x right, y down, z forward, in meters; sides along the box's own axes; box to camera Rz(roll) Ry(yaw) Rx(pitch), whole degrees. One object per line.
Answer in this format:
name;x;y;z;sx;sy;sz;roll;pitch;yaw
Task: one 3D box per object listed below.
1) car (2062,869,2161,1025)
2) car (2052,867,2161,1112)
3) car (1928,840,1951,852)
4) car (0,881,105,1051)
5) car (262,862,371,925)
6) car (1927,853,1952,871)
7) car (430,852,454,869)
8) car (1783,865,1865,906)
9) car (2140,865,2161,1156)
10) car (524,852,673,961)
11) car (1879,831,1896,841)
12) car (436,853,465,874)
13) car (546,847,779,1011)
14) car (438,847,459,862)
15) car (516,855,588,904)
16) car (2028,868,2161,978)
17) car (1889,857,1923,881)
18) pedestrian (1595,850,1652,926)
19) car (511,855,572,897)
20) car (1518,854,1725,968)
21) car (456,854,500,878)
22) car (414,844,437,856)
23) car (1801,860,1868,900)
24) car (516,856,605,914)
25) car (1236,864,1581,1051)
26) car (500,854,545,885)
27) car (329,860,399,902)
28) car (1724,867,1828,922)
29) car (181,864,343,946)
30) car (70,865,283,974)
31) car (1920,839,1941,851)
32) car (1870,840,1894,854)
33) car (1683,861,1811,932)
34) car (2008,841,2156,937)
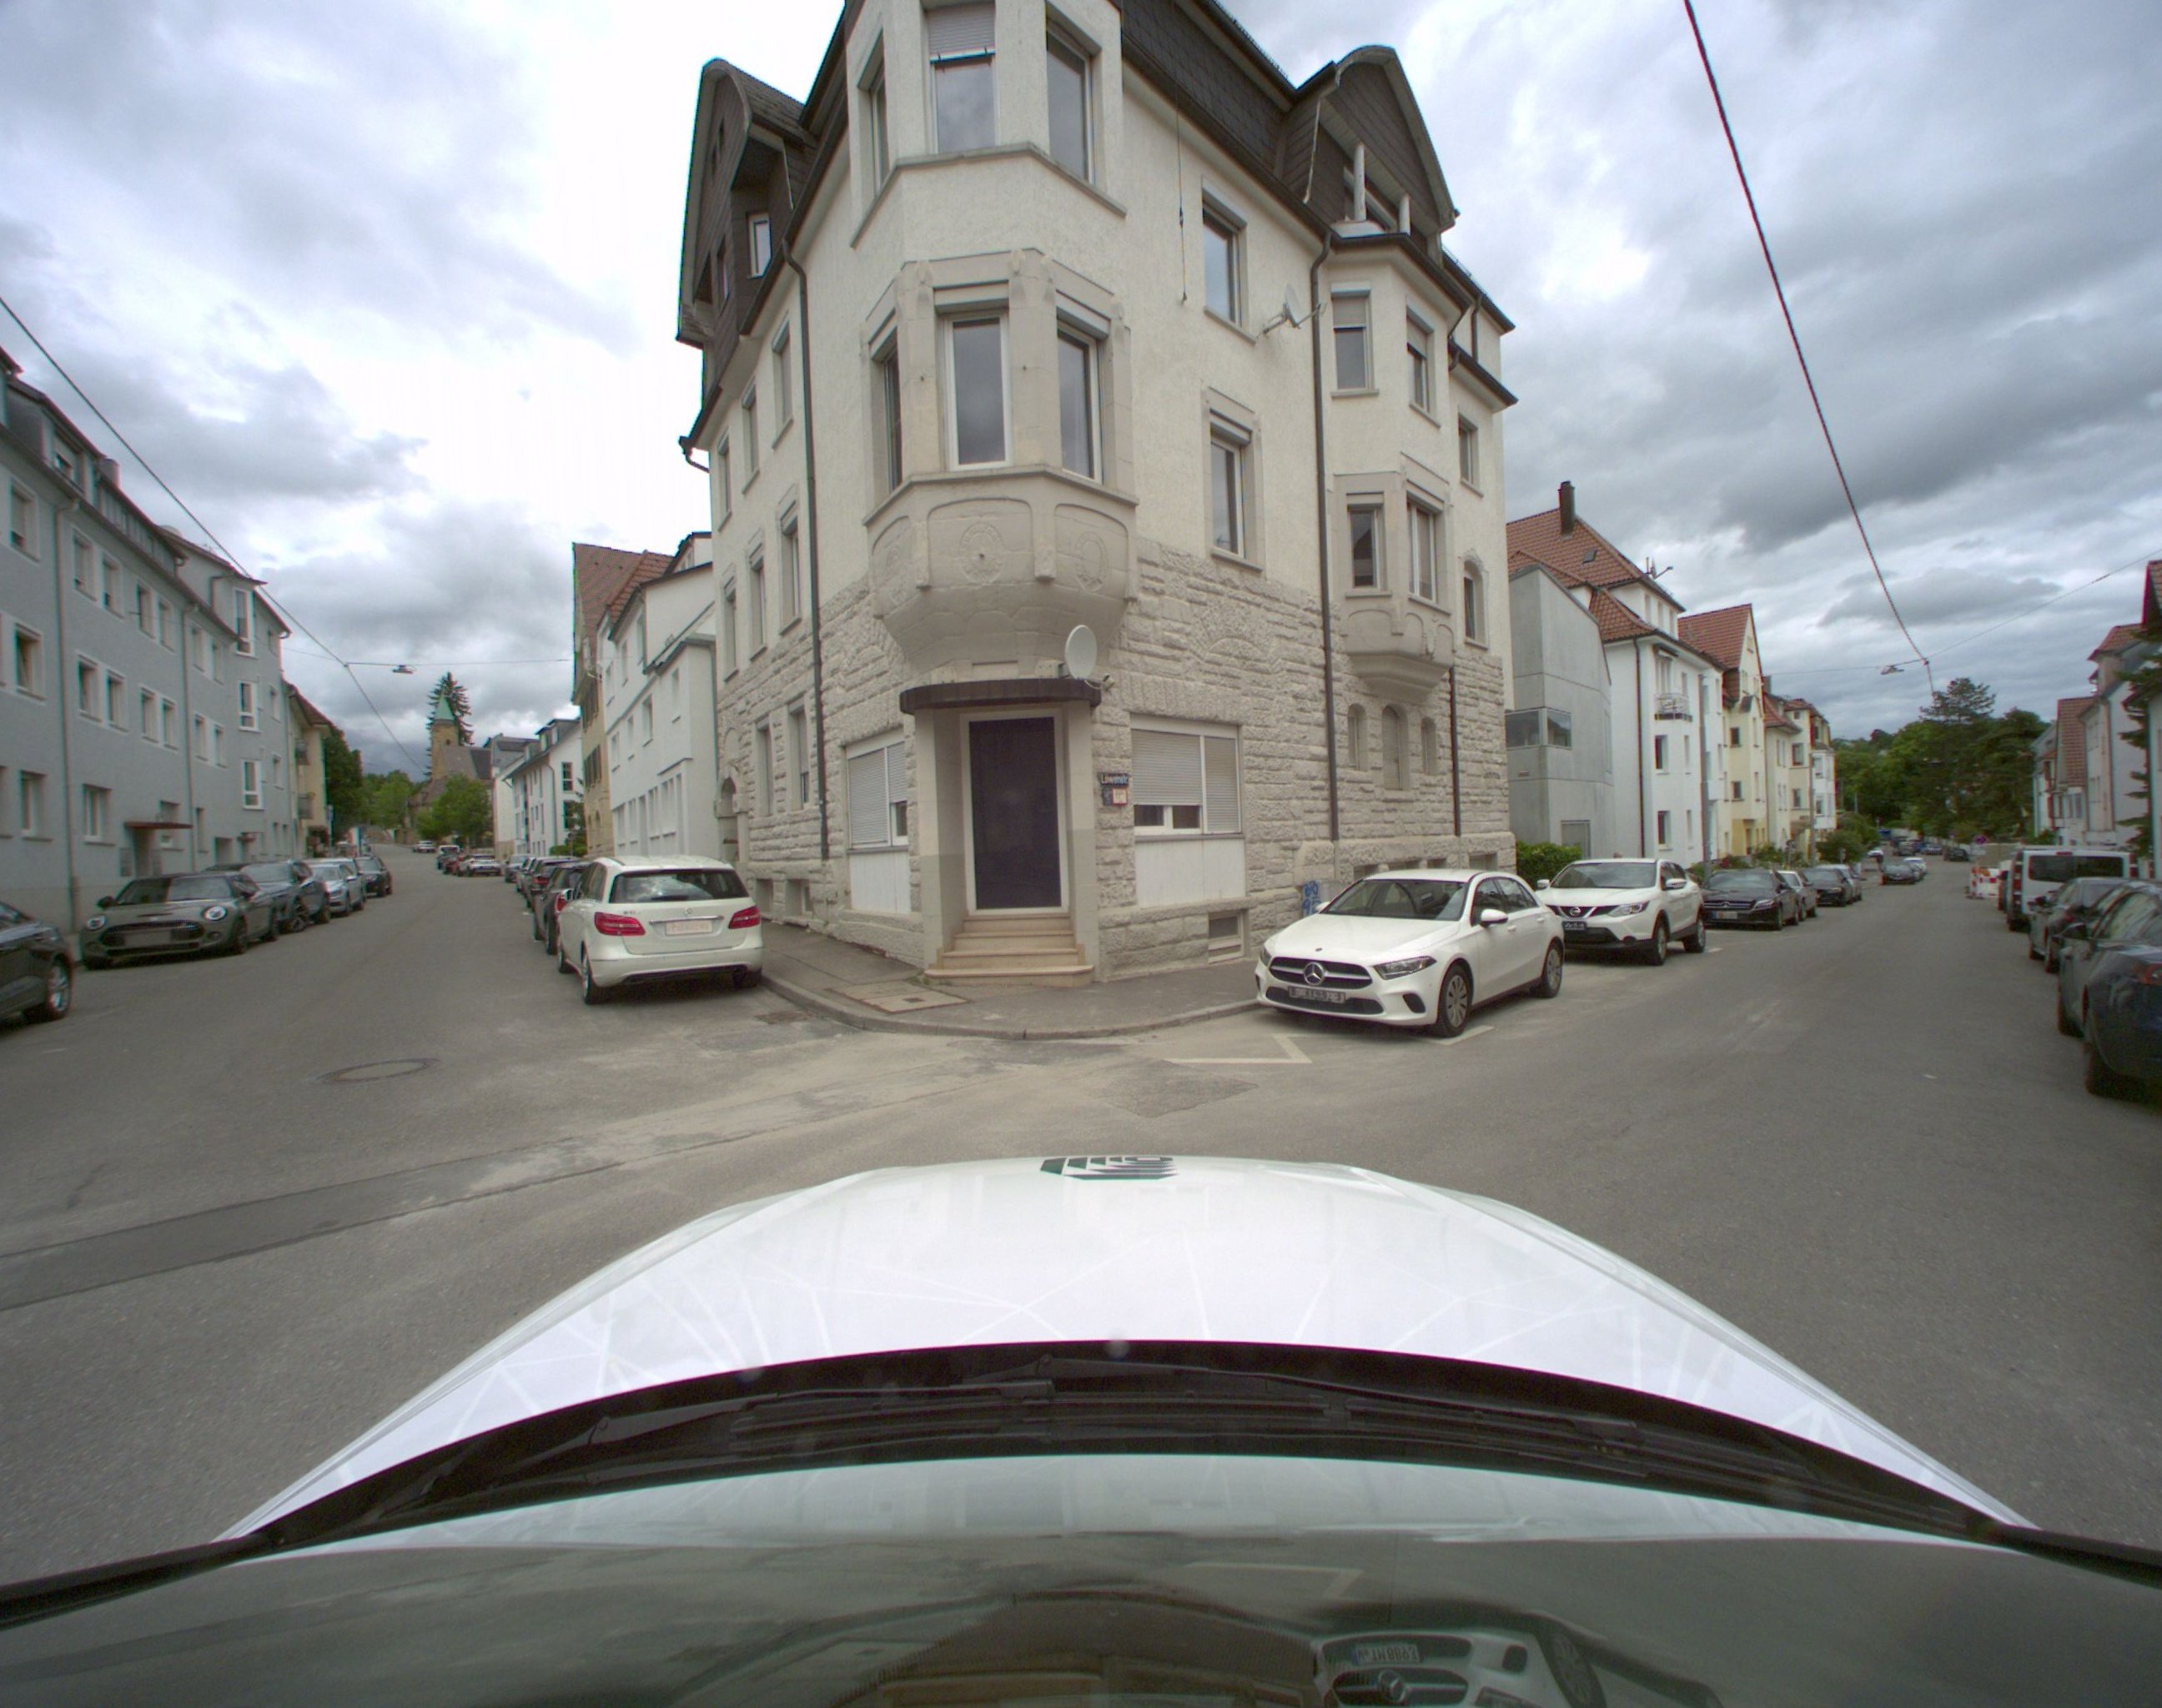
car;12.043;0.907;8.563;3.990;1.403;1.835;0;1;-45
car;8.442;0.836;5.785;4.315;1.403;1.836;0;1;-42
car;115.665;-1.066;109.747;1.618;1.483;3.553;0;4;39
car;-10.313;1.037;6.781;1.835;1.391;4.250;-3;2;-37
car;-20.828;1.005;22.328;1.744;1.448;3.677;-3;2;-37
car;87.563;0.825;83.079;3.885;1.657;1.657;-4;1;-43
car;-59.356;0.611;75.637;1.681;1.479;3.585;-2;2;-38
car;28.424;1.179;31.105;4.528;1.457;1.828;1;-3;-42
car;5.001;0.786;2.516;3.646;1.479;1.652;0;-1;-44
car;-8.345;0.756;13.913;1.681;1.532;3.981;0;1;-38
car;134.137;-2.965;135.463;1.618;1.537;3.553;0;4;39
car;-48.689;0.716;62.889;1.681;1.479;3.585;-2;2;-38
car;-5.324;0.733;10.087;1.835;1.599;3.981;0;0;-38
car;-65.974;0.028;84.900;1.681;1.479;3.585;-2;2;-38
car;-17.744;0.805;27.250;1.681;1.479;3.585;0;1;-38
car;15.668;0.955;12.130;4.600;1.403;1.836;2;-1;-43
car;65.391;1.162;64.565;4.570;1.815;1.828;1;-2;-45
pedestrian;13.794;0.855;20.715;0.847;1.885;0.814;0;-2;-19
car;-20.740;0.794;31.258;1.681;1.479;3.585;0;1;-38
car;8.713;0.777;12.974;4.264;1.516;1.828;0;-1;-44
car;-40.843;0.767;55.146;3.581;1.479;1.800;1;2;45
car;-91.763;-0.595;114.003;2.201;1.693;3.582;-2;2;-43
car;32.750;1.092;35.364;4.310;1.631;1.828;0;-1;-44
car;-14.371;0.784;22.414;1.681;1.385;3.981;0;1;-38
car;3.562;0.837;8.415;4.264;1.414;1.684;0;-1;-44
car;-28.384;0.747;41.345;1.681;1.479;3.585;0;1;-38
car;-28.003;1.008;31.903;1.744;1.448;3.677;-3;2;-37
car;20.708;1.114;24.191;5.090;1.413;1.828;0;-1;-44
car;-17.956;1.022;18.064;1.743;1.469;3.681;-3;2;-33
car;-15.442;1.001;14.139;1.744;1.489;3.677;-3;2;-37
car;118.506;-1.292;113.639;1.618;1.483;3.553;0;4;39
car;109.888;-0.976;111.789;1.656;1.657;3.888;-3;1;35
car;16.482;0.952;20.063;4.496;1.527;1.879;0;-1;-44
car;24.342;0.734;20.009;5.764;2.030;1.888;0;1;-43
